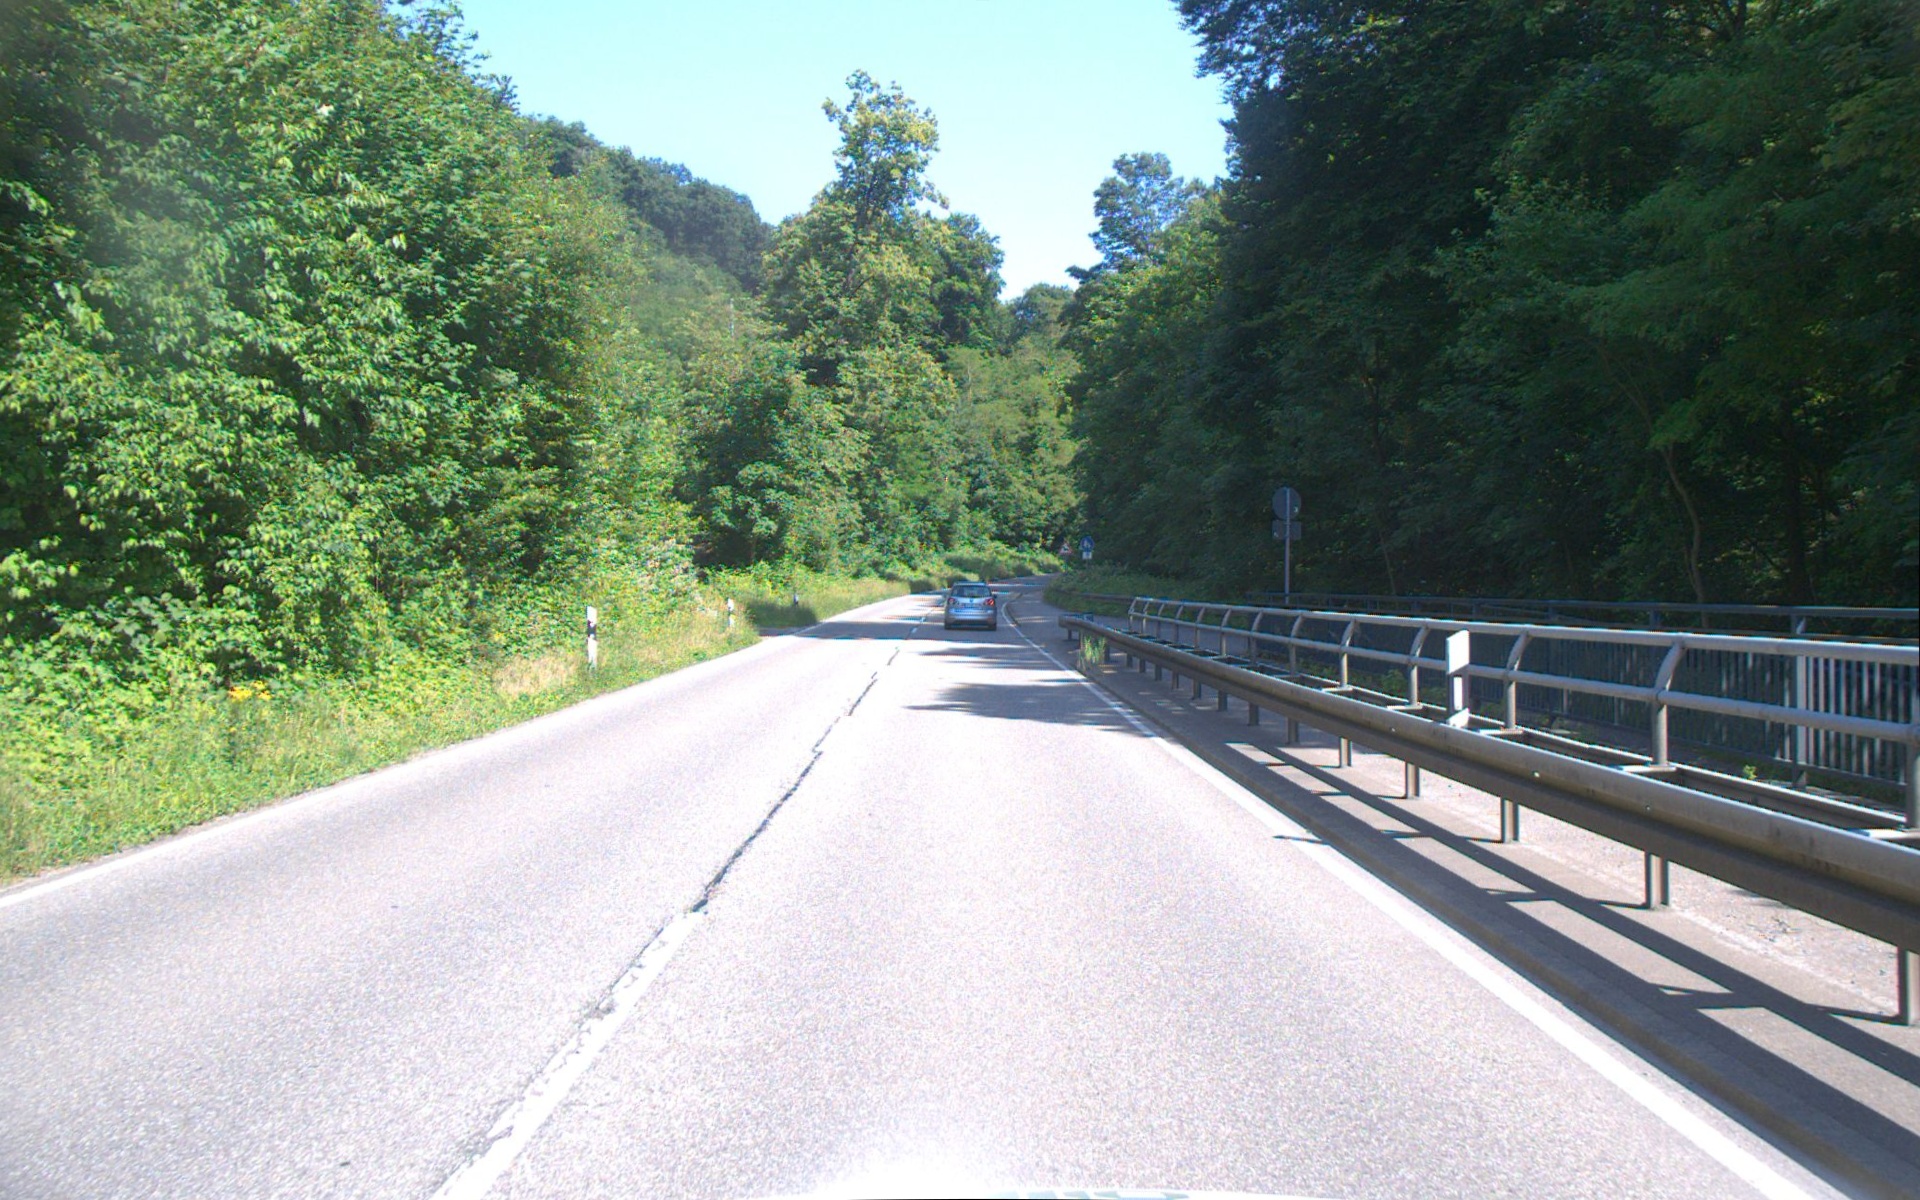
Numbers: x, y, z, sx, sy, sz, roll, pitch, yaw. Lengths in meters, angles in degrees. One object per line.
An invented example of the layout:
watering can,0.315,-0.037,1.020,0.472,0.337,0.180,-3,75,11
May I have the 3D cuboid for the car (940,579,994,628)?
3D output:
car,0.279,0.120,55.284,1.715,1.546,4.160,1,0,1
